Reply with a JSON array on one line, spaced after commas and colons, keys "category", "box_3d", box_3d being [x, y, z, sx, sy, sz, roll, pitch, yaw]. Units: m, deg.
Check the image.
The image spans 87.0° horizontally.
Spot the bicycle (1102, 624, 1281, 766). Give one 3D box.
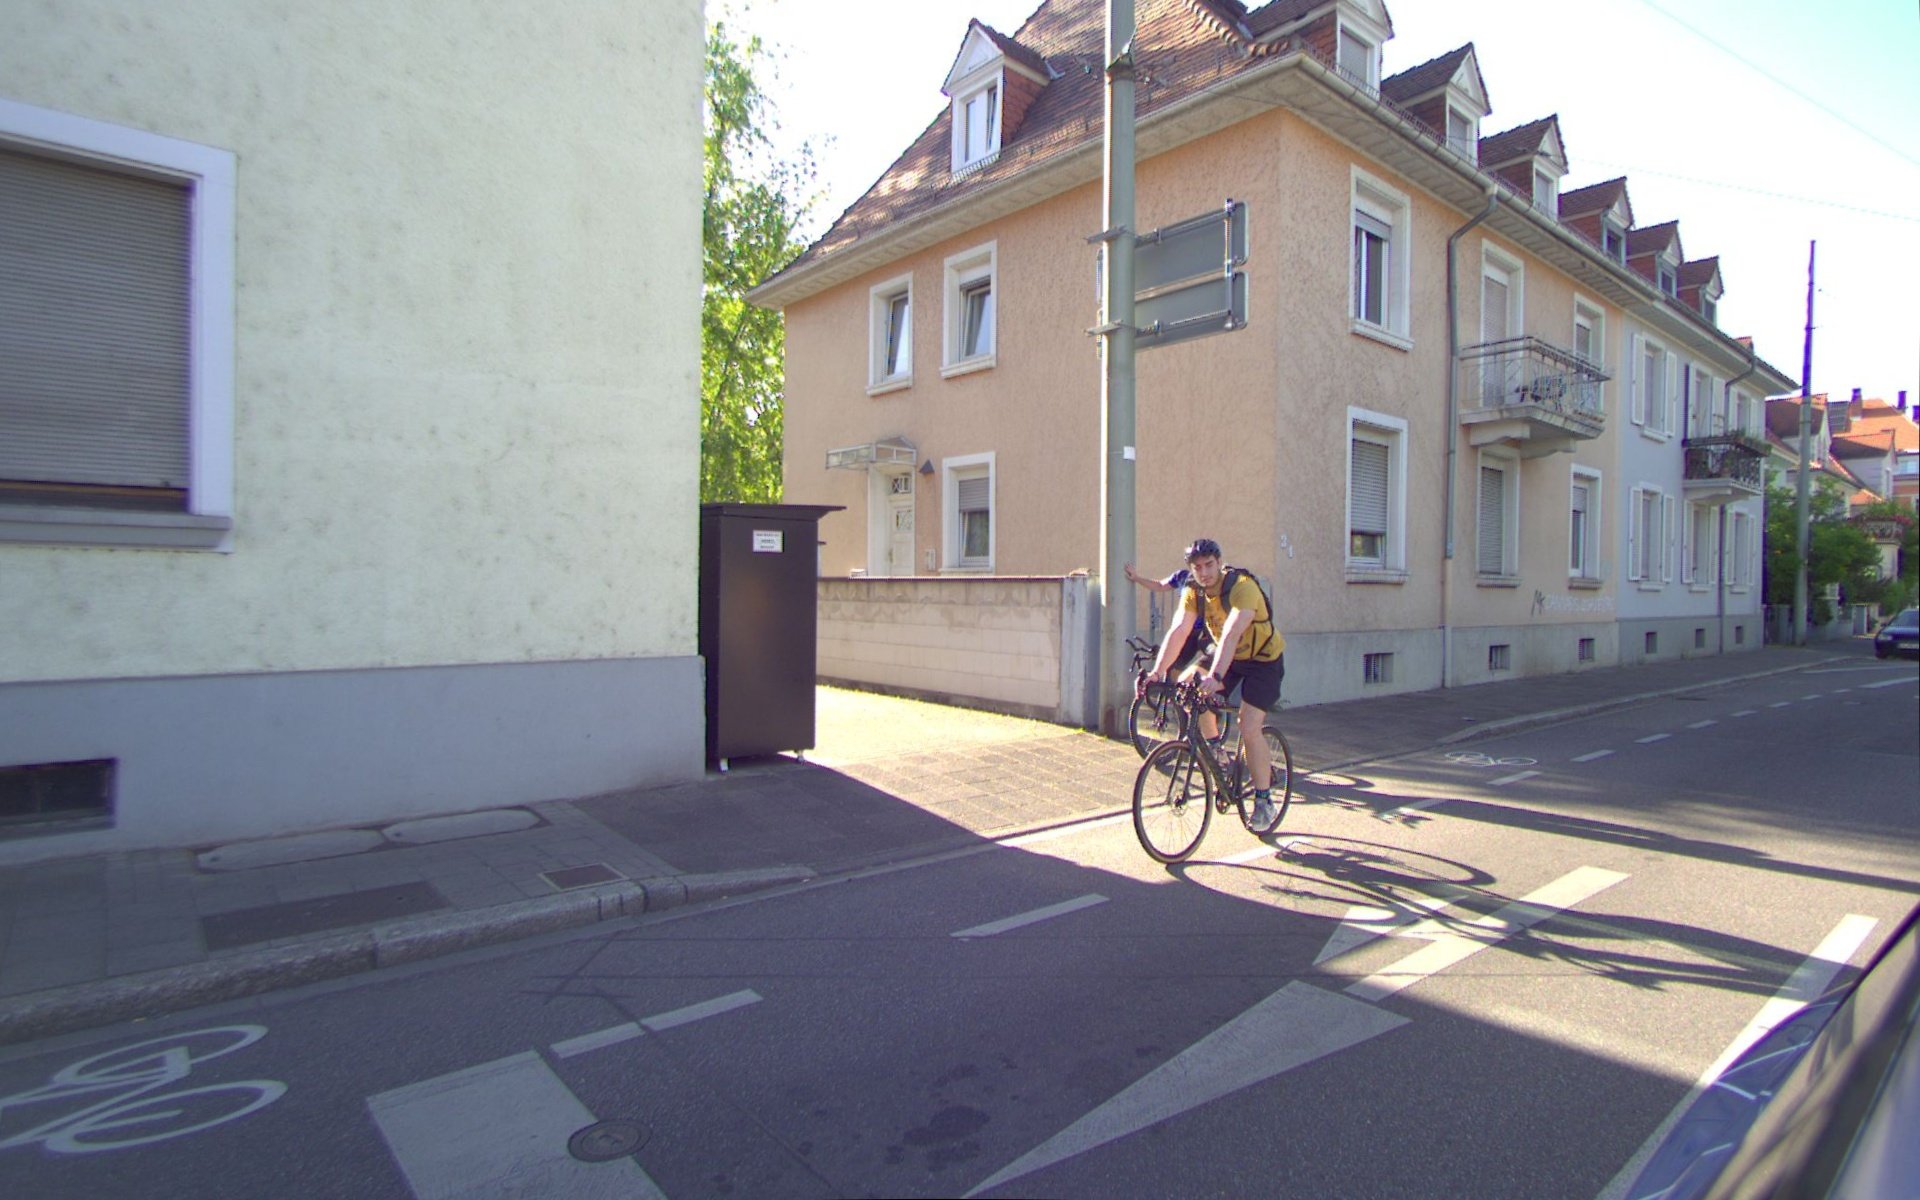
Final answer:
[{"category": "bicycle", "box_3d": [2.087, 0.792, 8.995, 1.689, 1.064, 0.595, 0, 6, -41]}]

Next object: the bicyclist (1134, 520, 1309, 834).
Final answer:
[{"category": "bicyclist", "box_3d": [1.593, 0.418, 6.136, 0.939, 1.743, 0.582, 0, 1, -41]}]

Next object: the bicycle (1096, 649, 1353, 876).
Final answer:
[{"category": "bicycle", "box_3d": [1.656, 0.899, 6.166, 1.778, 1.101, 0.611, 0, 1, -41]}]

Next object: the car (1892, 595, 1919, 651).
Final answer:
[{"category": "car", "box_3d": [26.658, 0.608, 27.338, 3.932, 1.438, 1.845, 0, 1, -42]}]

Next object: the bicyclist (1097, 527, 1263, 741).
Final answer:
[{"category": "bicyclist", "box_3d": [1.987, 0.258, 9.207, 0.838, 1.758, 1.072, 0, 6, -40]}]
